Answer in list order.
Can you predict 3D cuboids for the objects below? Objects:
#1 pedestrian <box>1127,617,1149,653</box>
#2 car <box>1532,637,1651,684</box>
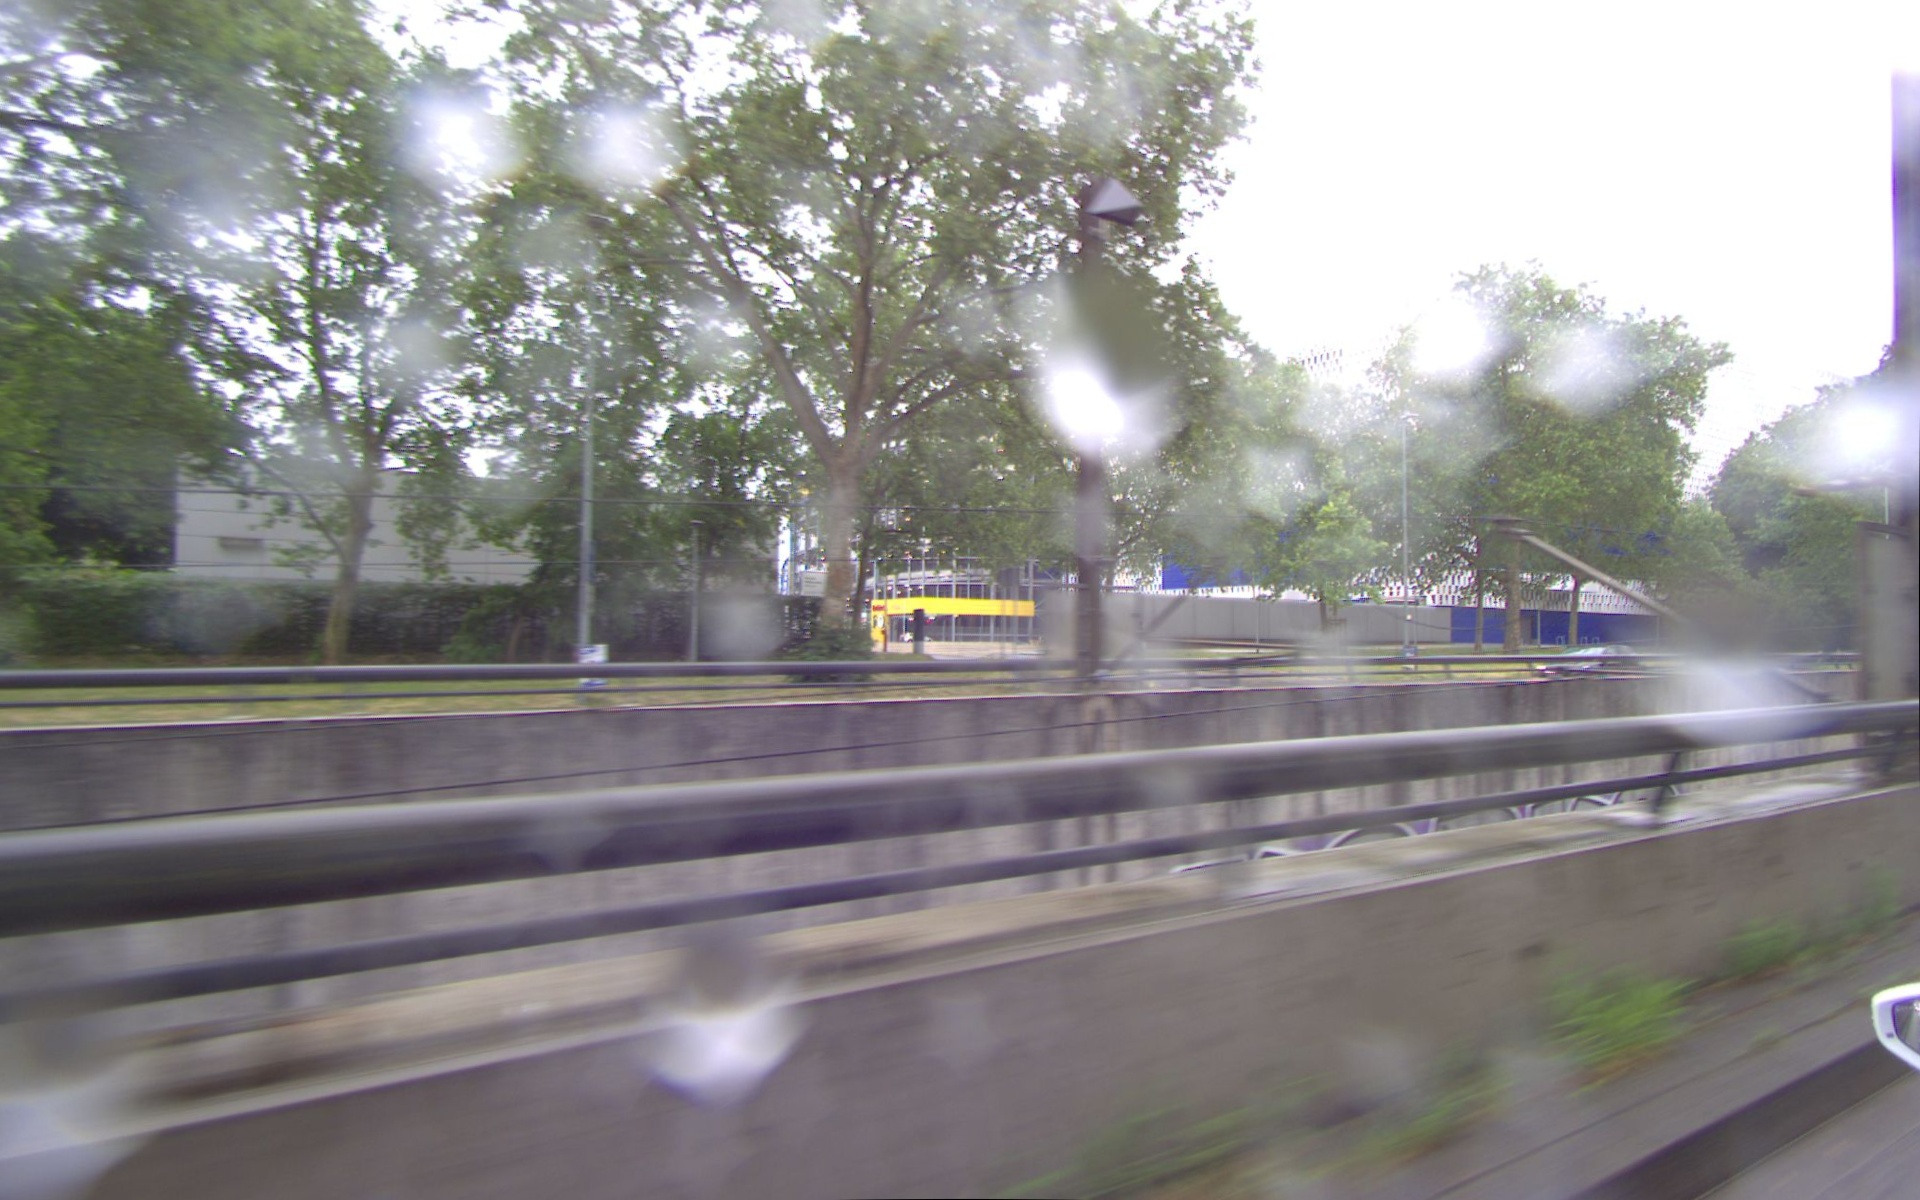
[{"bbox_3d":[10.386,2.021,58.605,0.780,2.040,0.997,1,0,-28],"label":"pedestrian"},{"bbox_3d":[20.474,1.910,32.537,3.755,1.422,1.981,1,-2,-35],"label":"car"}]
